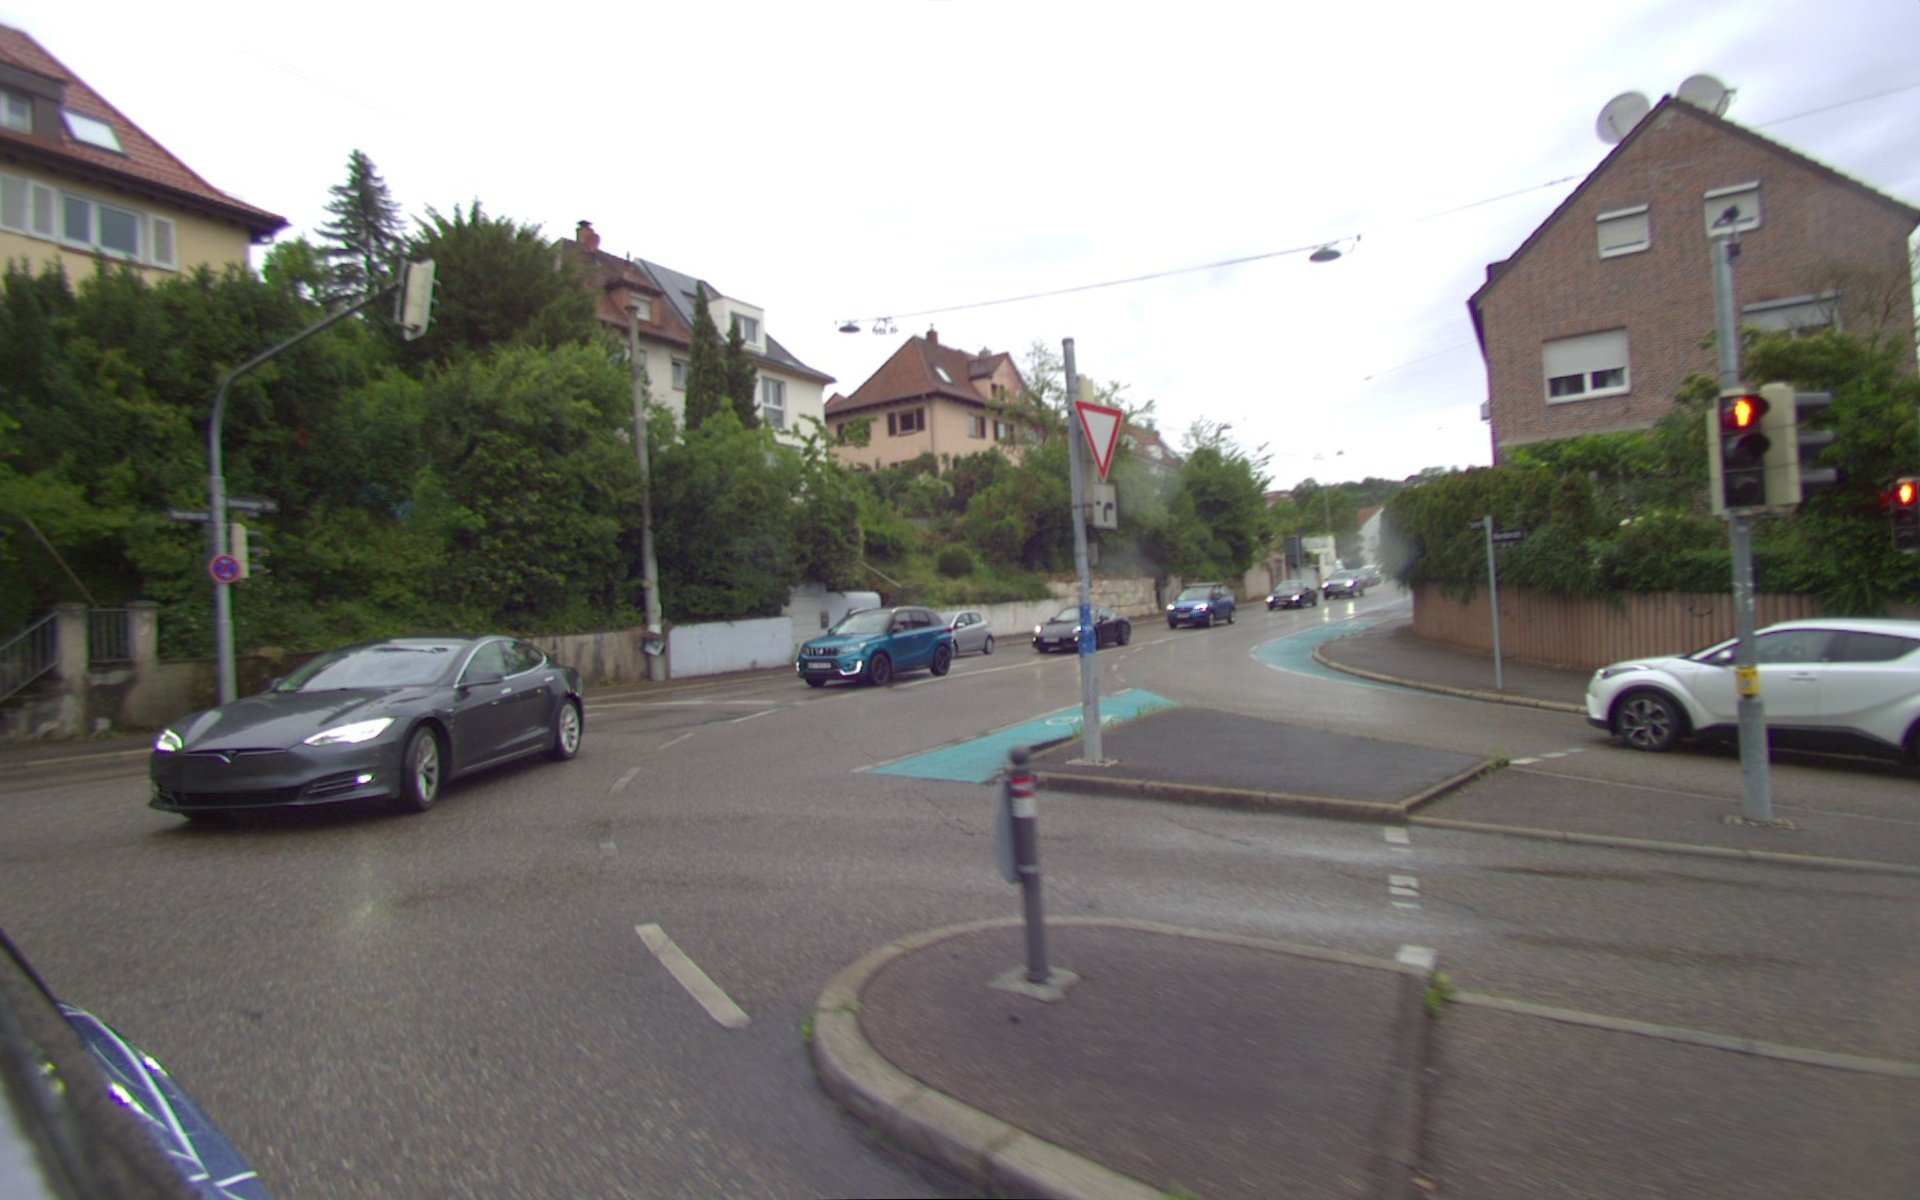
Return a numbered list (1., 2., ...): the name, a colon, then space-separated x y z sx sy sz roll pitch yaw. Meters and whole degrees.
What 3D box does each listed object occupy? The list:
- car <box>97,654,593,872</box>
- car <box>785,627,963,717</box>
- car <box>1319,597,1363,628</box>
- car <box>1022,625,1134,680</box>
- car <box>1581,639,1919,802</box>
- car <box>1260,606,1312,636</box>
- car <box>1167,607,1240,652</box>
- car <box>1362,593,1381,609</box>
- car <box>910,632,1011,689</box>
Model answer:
1. car: -5.096 1.257 9.235 1.812 1.402 4.321 -2 -2 2
2. car: -1.722 1.464 21.536 1.794 1.622 4.001 -5 -2 29
3. car: 23.263 0.751 61.711 1.752 1.662 4.001 -7 -3 29
4. car: 3.583 1.533 30.148 1.754 1.471 3.997 -3 -2 32
5. car: 9.146 1.165 10.499 1.684 1.478 4.272 1 -2 -33
6. car: 16.935 1.080 52.462 1.752 1.471 4.001 -3 -2 29
7. car: 9.738 1.159 40.330 1.752 1.662 4.000 -3 -2 30
8. car: 40.366 0.079 99.329 1.605 1.410 3.340 -5 -1 23
9. car: 0.077 1.845 31.503 1.548 1.462 3.329 -5 -1 32
